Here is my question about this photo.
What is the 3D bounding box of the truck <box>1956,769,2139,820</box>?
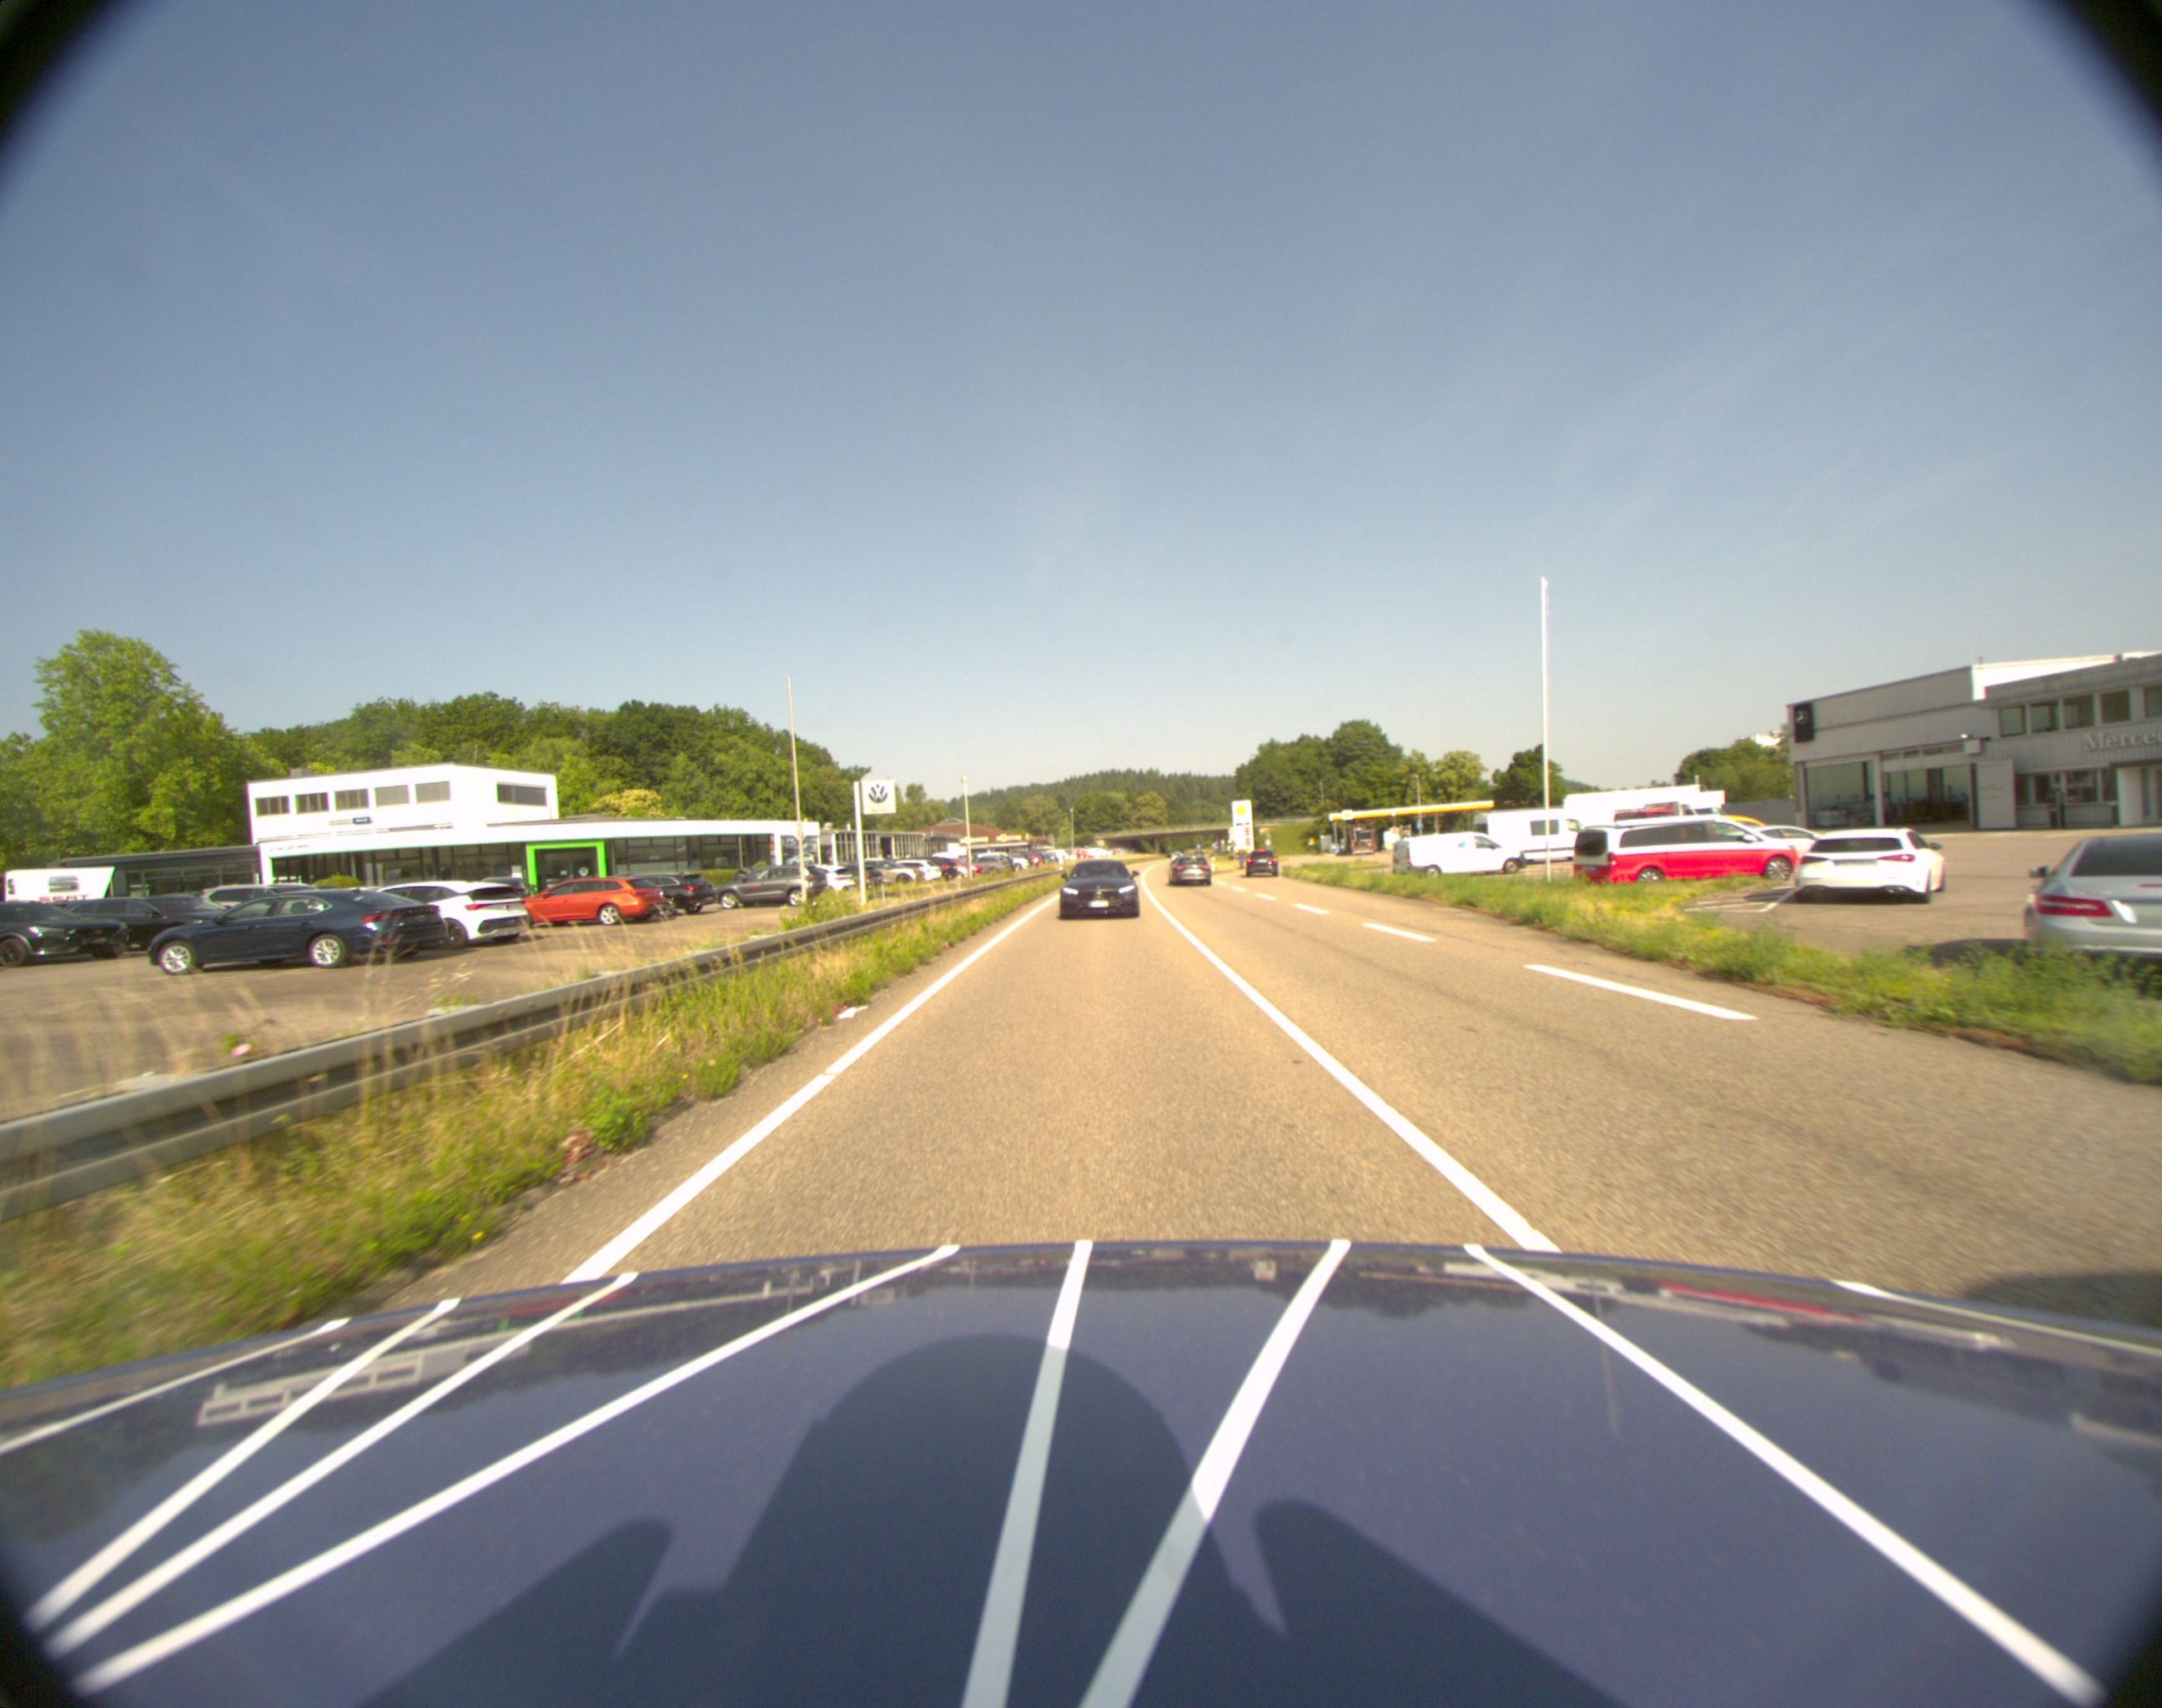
[{"bbox_3d":[53.700,-3.270,42.345,6.894,2.344,2.451,-2,1,2],"label":"truck"}]

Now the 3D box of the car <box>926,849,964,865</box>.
[{"bbox_3d":[-17.330,0.415,96.911,4.318,1.913,1.791,-2,1,8],"label":"car"}]

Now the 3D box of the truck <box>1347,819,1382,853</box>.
[{"bbox_3d":[38.063,-2.418,101.745,3.055,4.110,16.797,-2,1,25],"label":"truck"}]

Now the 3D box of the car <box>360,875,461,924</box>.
[{"bbox_3d":[-25.727,1.687,29.348,1.934,1.556,4.740,-2,1,-29],"label":"car"}]

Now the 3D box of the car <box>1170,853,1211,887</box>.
[{"bbox_3d":[5.138,0.712,36.164,1.755,1.466,4.288,-1,0,6],"label":"car"}]

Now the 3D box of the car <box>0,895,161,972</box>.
[{"bbox_3d":[-25.245,1.884,18.032,4.746,1.556,1.932,-2,1,5],"label":"car"}]

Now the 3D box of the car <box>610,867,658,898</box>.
[{"bbox_3d":[-25.096,1.535,42.584,1.794,1.556,4.345,-2,1,-37],"label":"car"}]

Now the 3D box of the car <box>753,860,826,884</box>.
[{"bbox_3d":[-19.855,1.223,51.685,4.709,1.480,1.793,-1,1,25],"label":"car"}]

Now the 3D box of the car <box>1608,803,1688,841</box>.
[{"bbox_3d":[39.836,-2.184,53.606,1.885,2.372,5.224,-3,0,3],"label":"car"}]

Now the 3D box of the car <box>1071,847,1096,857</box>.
[{"bbox_3d":[0.353,-0.334,117.435,3.544,1.456,1.806,-2,1,9],"label":"car"}]

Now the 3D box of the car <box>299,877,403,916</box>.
[{"bbox_3d":[-35.900,2.043,37.525,1.791,1.556,4.350,-2,1,-15],"label":"car"}]

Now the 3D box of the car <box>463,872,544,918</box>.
[{"bbox_3d":[-23.249,1.571,30.764,1.934,1.556,4.740,-2,1,-29],"label":"car"}]

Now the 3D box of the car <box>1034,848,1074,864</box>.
[{"bbox_3d":[-2.972,0.180,83.861,4.052,1.608,1.881,-2,1,11],"label":"car"}]

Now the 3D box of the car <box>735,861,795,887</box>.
[{"bbox_3d":[-20.394,1.273,48.978,4.344,1.556,1.794,-1,1,41],"label":"car"}]

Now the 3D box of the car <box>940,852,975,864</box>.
[{"bbox_3d":[-16.692,0.581,102.961,4.318,1.456,1.791,-2,1,9],"label":"car"}]

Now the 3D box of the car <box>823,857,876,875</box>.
[{"bbox_3d":[-21.230,1.087,69.823,4.321,1.556,1.790,-2,1,-1],"label":"car"}]

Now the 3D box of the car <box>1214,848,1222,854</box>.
[{"bbox_3d":[35.951,-0.772,199.145,1.680,1.348,3.926,-1,0,15],"label":"car"}]

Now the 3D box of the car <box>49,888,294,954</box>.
[{"bbox_3d":[-25.236,1.842,21.180,4.746,1.556,1.932,-2,1,5],"label":"car"}]

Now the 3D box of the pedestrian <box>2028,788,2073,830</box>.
[{"bbox_3d":[41.063,-1.894,32.186,0.822,1.680,0.850,-2,1,0],"label":"pedestrian"}]

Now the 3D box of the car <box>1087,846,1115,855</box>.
[{"bbox_3d":[3.386,-0.629,129.907,4.569,1.456,1.878,-2,1,9],"label":"car"}]

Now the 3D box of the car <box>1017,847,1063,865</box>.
[{"bbox_3d":[-4.185,0.229,78.623,4.364,1.630,1.952,-2,1,9],"label":"car"}]

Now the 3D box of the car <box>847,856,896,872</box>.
[{"bbox_3d":[-21.080,1.030,76.475,4.319,1.456,1.791,-2,1,6],"label":"car"}]

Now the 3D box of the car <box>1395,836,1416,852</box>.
[{"bbox_3d":[33.446,-1.057,78.377,1.717,1.557,4.664,-3,0,21],"label":"car"}]

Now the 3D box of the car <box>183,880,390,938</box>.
[{"bbox_3d":[-25.152,1.716,24.166,4.746,1.556,1.932,-2,1,5],"label":"car"}]

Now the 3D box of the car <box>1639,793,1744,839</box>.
[{"bbox_3d":[43.130,-2.573,53.955,2.400,2.839,6.529,-3,0,3],"label":"car"}]

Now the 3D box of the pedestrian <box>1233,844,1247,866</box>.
[{"bbox_3d":[12.262,0.055,58.548,0.848,1.680,1.145,-2,1,22],"label":"pedestrian"}]

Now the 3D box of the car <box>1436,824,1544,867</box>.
[{"bbox_3d":[21.373,-0.418,39.822,4.455,1.829,1.987,-5,0,2],"label":"car"}]

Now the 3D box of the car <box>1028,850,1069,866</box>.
[{"bbox_3d":[-3.416,0.435,80.639,4.046,1.498,1.807,-2,1,11],"label":"car"}]

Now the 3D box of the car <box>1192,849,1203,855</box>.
[{"bbox_3d":[25.243,-0.511,164.696,1.805,1.166,4.105,-1,0,18],"label":"car"}]

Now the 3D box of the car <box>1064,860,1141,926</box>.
[{"bbox_3d":[0.655,0.925,19.731,1.715,1.382,4.148,-2,1,5],"label":"car"}]

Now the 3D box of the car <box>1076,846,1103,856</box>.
[{"bbox_3d":[1.311,-0.437,119.847,3.994,1.456,1.878,-2,1,9],"label":"car"}]
